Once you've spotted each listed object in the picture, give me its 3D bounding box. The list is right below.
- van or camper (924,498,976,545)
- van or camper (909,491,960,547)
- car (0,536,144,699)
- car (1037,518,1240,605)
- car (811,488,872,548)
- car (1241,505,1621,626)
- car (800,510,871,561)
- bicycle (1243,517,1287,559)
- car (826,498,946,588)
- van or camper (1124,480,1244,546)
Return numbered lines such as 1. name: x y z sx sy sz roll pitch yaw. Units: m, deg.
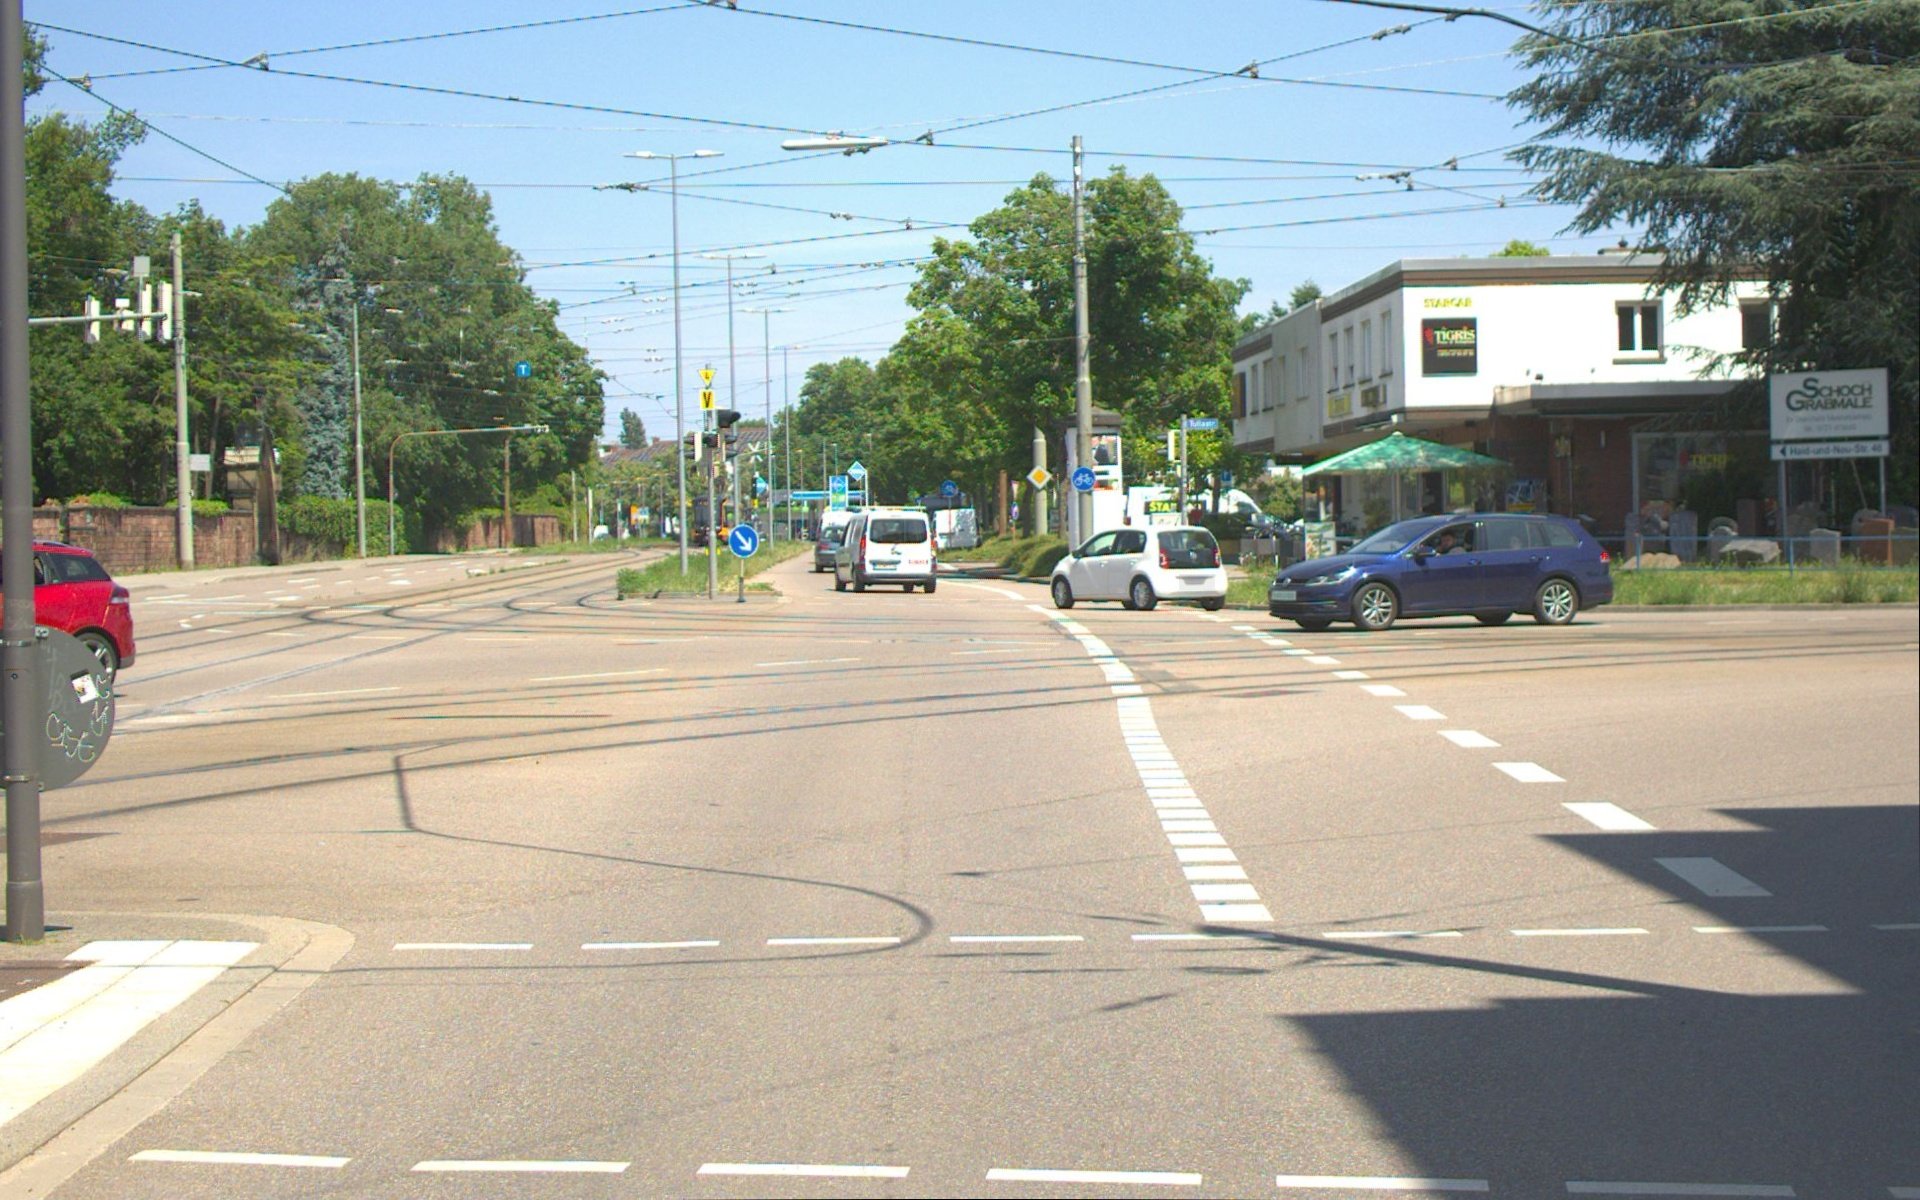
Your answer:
1. van or camper: -0.407 -2.991 130.734 1.922 1.766 4.000 -1 1 -1
2. van or camper: -1.151 -3.619 153.199 1.993 2.456 4.001 -1 1 -4
3. car: -9.318 0.172 29.840 1.821 1.391 4.167 0 2 36
4. car: 3.058 -0.677 59.433 1.671 1.430 3.474 -2 2 -36
5. car: -4.100 -2.816 119.349 1.993 2.007 4.000 1 1 -1
6. car: 6.014 -0.461 43.914 4.462 1.437 1.863 -1 1 -22
7. car: -3.654 -1.875 100.493 1.993 1.448 4.000 1 1 -3
8. bicycle: 7.536 -1.537 84.864 1.034 1.011 2.637 -1 1 6
9. car: -1.640 -1.268 74.771 1.993 1.853 4.002 -1 2 -11
10. van or camper: 9.350 -3.620 143.746 4.756 2.662 2.136 -1 1 -3
